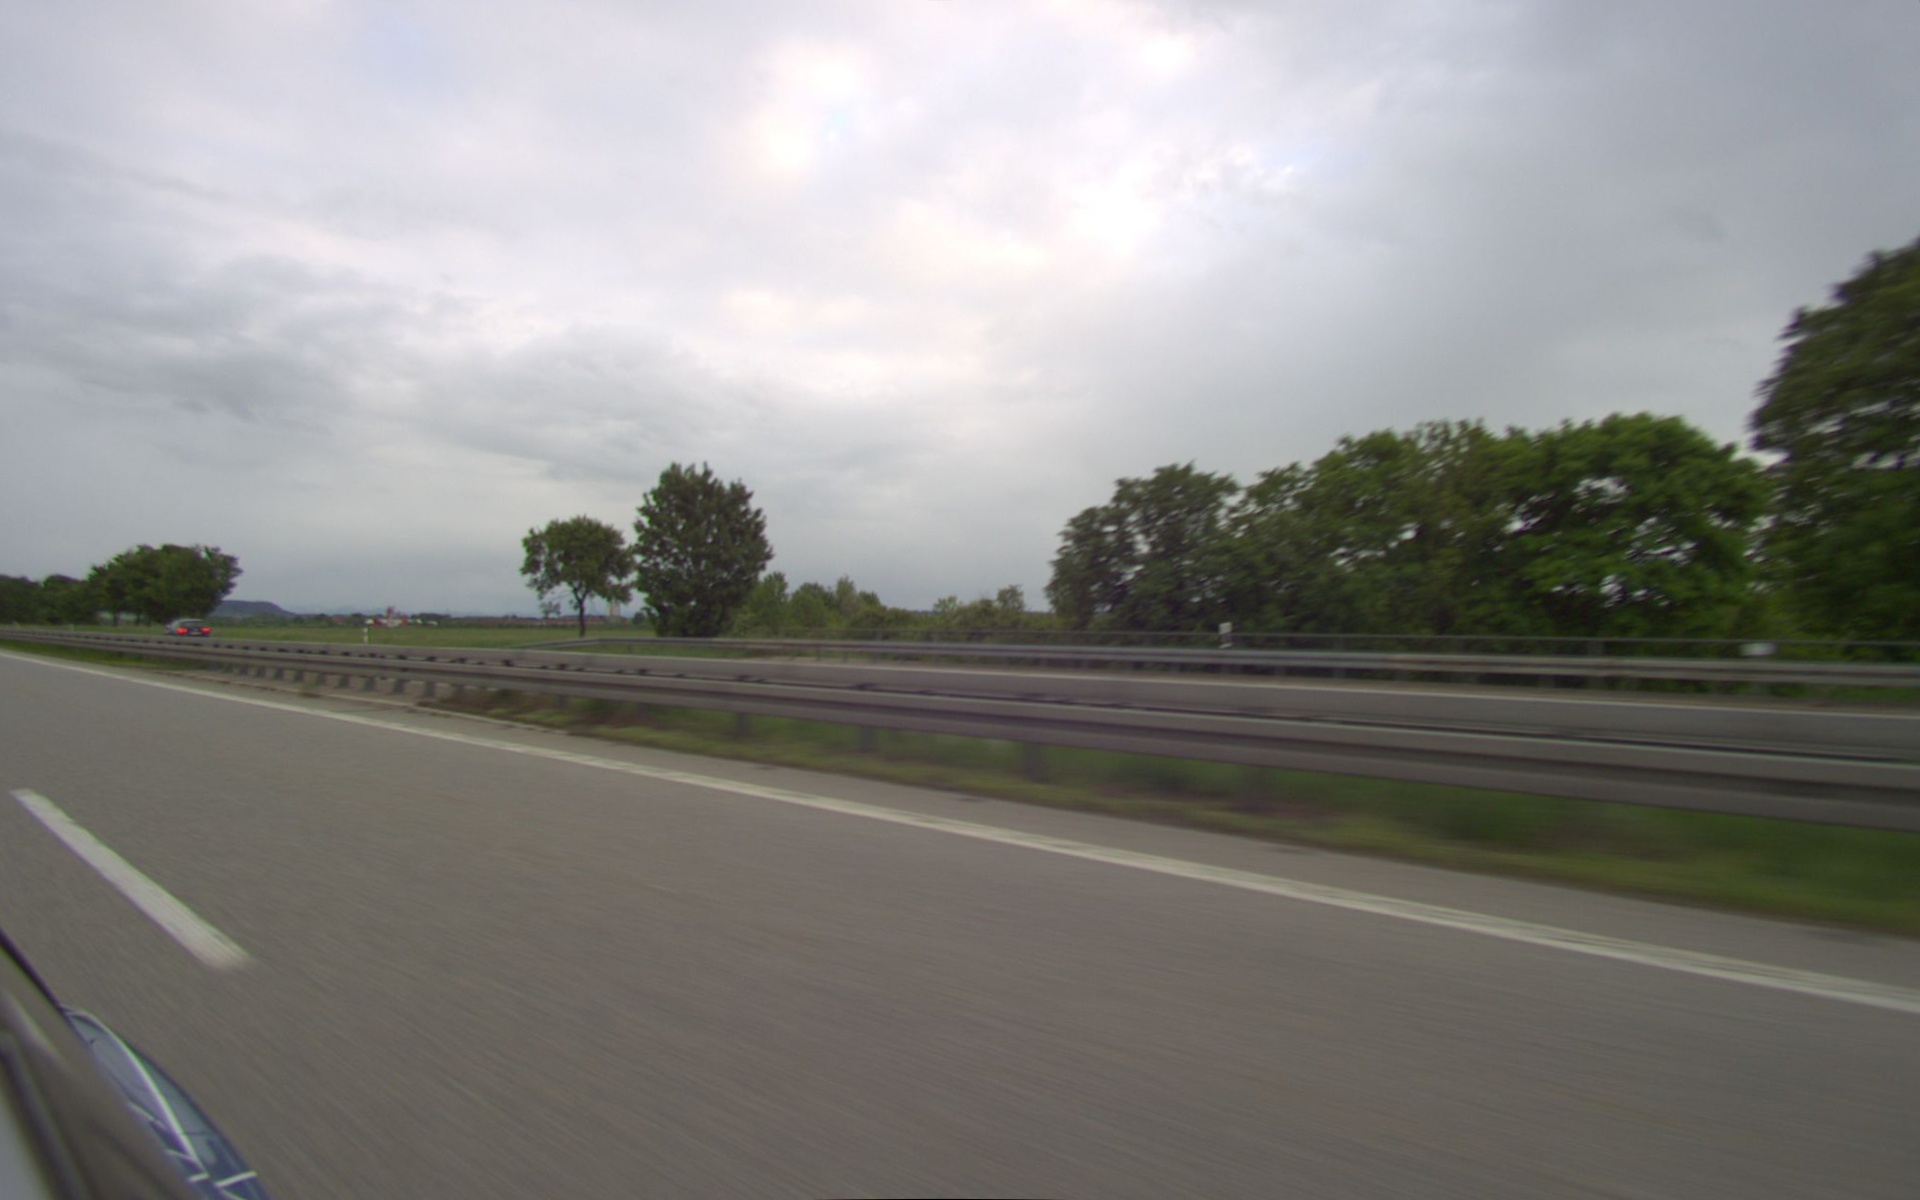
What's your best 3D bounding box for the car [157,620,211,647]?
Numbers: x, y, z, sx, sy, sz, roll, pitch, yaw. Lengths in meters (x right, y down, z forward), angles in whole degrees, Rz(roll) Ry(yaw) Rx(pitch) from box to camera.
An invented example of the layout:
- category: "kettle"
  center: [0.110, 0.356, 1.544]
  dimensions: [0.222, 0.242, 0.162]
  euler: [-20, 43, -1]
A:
- category: "car"
  center: [-49.058, 2.090, 63.946]
  dimensions: [4.521, 1.574, 1.799]
  euler: [0, 1, 41]
